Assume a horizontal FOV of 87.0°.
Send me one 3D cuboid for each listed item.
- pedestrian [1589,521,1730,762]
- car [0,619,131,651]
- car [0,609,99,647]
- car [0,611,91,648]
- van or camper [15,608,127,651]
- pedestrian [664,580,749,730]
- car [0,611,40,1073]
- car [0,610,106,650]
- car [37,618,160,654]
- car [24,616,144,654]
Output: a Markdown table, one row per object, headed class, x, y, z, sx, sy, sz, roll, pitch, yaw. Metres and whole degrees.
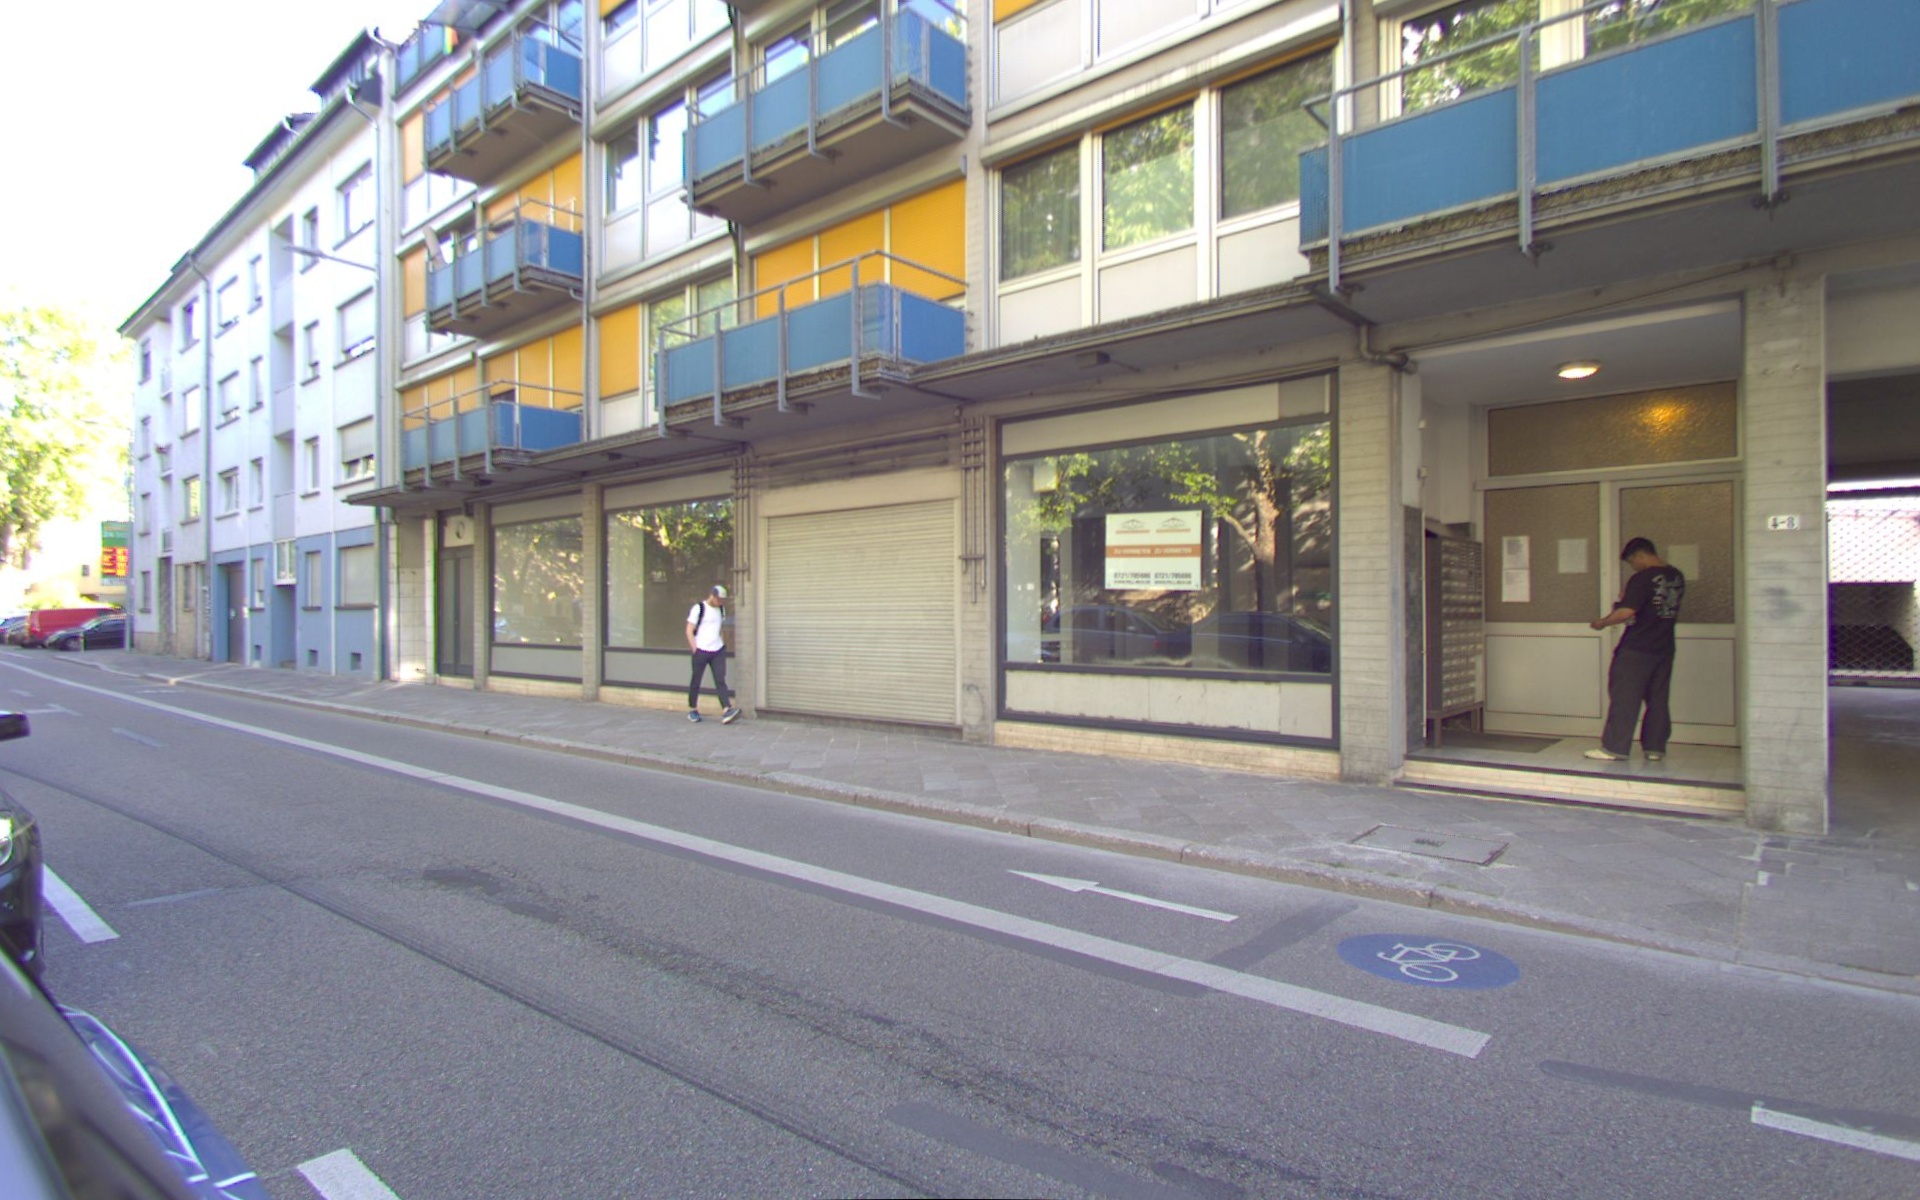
| class | x | y | z | sx | sy | sz | roll | pitch | yaw |
| --- | --- | --- | --- | --- | --- | --- | --- | --- | --- |
| pedestrian | 5.262 | 0.298 | 7.630 | 0.650 | 1.726 | 0.550 | 0 | -1 | -16 |
| car | -45.716 | 1.747 | 51.694 | 1.999 | 1.506 | 4.927 | -1 | -1 | 41 |
| car | -55.397 | 1.669 | 61.143 | 1.999 | 2.210 | 4.927 | -1 | -1 | 41 |
| car | -57.391 | 1.819 | 62.852 | 1.999 | 2.210 | 4.927 | -1 | -1 | 41 |
| van or camper | -43.884 | 1.427 | 50.002 | 1.999 | 2.029 | 3.946 | -1 | -1 | 40 |
| pedestrian | -3.201 | 0.674 | 12.774 | 0.879 | 1.813 | 0.593 | -1 | 0 | 41 |
| car | -5.016 | 0.803 | 3.884 | 3.861 | 1.467 | 1.718 | -1 | -1 | 40 |
| car | -53.310 | 1.733 | 59.192 | 1.999 | 2.210 | 4.927 | -1 | -1 | 41 |
| car | -39.747 | 1.629 | 46.775 | 1.999 | 1.506 | 4.093 | -1 | -1 | 41 |
| car | -41.628 | 1.617 | 48.159 | 1.999 | 1.703 | 4.093 | -1 | -1 | 41 |
